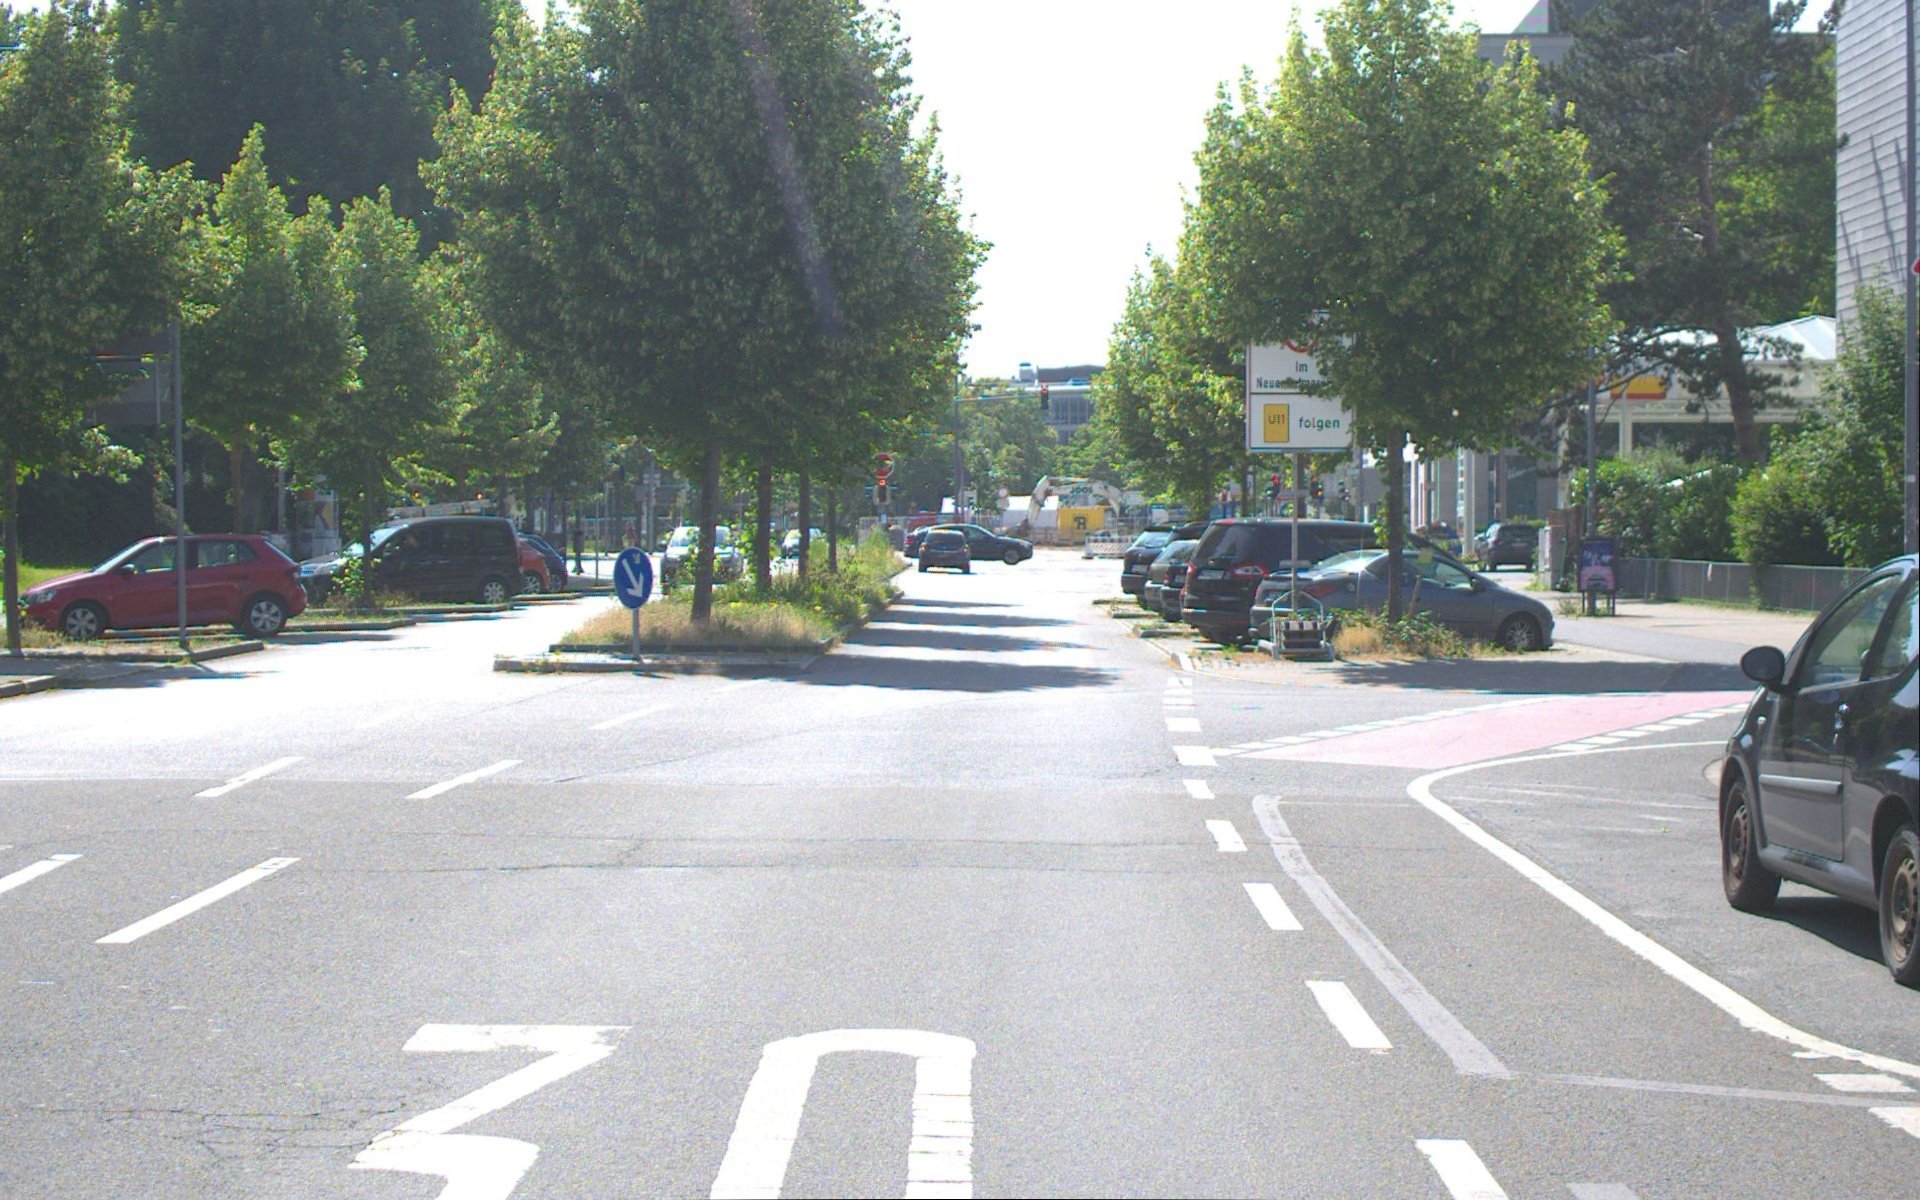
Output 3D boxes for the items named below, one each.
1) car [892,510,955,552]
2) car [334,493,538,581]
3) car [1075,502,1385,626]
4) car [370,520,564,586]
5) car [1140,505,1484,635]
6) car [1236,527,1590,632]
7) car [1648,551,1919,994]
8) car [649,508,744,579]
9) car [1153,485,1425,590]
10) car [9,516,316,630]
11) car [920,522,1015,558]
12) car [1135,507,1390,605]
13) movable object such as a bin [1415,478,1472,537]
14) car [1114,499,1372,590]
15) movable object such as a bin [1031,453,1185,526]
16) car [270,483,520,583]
[{"bbox_3d":[-1.271,-2.357,116.549,1.993,1.393,4.001,0,1,-3],"label":"car"},{"bbox_3d":[-10.762,-1.286,70.578,3.761,1.766,1.820,0,1,-26],"label":"car"},{"bbox_3d":[3.789,-0.487,48.051,3.987,1.634,1.880,0,-1,-34],"label":"car"},{"bbox_3d":[-10.780,-1.034,75.278,3.830,1.418,1.715,0,1,-35],"label":"car"},{"bbox_3d":[4.639,-0.422,45.215,4.107,1.634,2.044,-1,2,-32],"label":"car"},{"bbox_3d":[5.573,-0.270,42.310,3.986,1.232,1.753,0,2,-25],"label":"car"},{"bbox_3d":[3.851,0.546,12.920,1.617,1.385,4.000,2,1,-1],"label":"car"},{"bbox_3d":[-6.011,-1.306,78.831,1.741,1.542,4.073,-1,1,2],"label":"car"},{"bbox_3d":[5.312,-1.014,55.569,3.986,1.634,1.754,0,2,-19],"label":"car"},{"bbox_3d":[-11.251,-0.404,48.457,3.986,1.461,2.001,-2,2,-20],"label":"car"},{"bbox_3d":[0.283,-2.309,132.274,3.602,1.372,1.638,0,1,-1],"label":"car"},{"bbox_3d":[5.123,-0.759,58.487,3.986,1.634,1.753,0,1,-11],"label":"car"},{"bbox_3d":[13.552,-2.584,96.418,1.307,1.586,1.396,-2,1,-2],"label":"movable object such as a bin"},{"bbox_3d":[5.341,-1.055,64.671,4.731,1.654,1.753,-1,2,-33],"label":"car"},{"bbox_3d":[9.397,-7.035,218.768,9.676,4.534,3.164,1,2,3],"label":"movable object such as a bin"},{"bbox_3d":[-10.603,-1.289,64.582,4.176,1.810,2.004,-2,3,-37],"label":"car"}]
